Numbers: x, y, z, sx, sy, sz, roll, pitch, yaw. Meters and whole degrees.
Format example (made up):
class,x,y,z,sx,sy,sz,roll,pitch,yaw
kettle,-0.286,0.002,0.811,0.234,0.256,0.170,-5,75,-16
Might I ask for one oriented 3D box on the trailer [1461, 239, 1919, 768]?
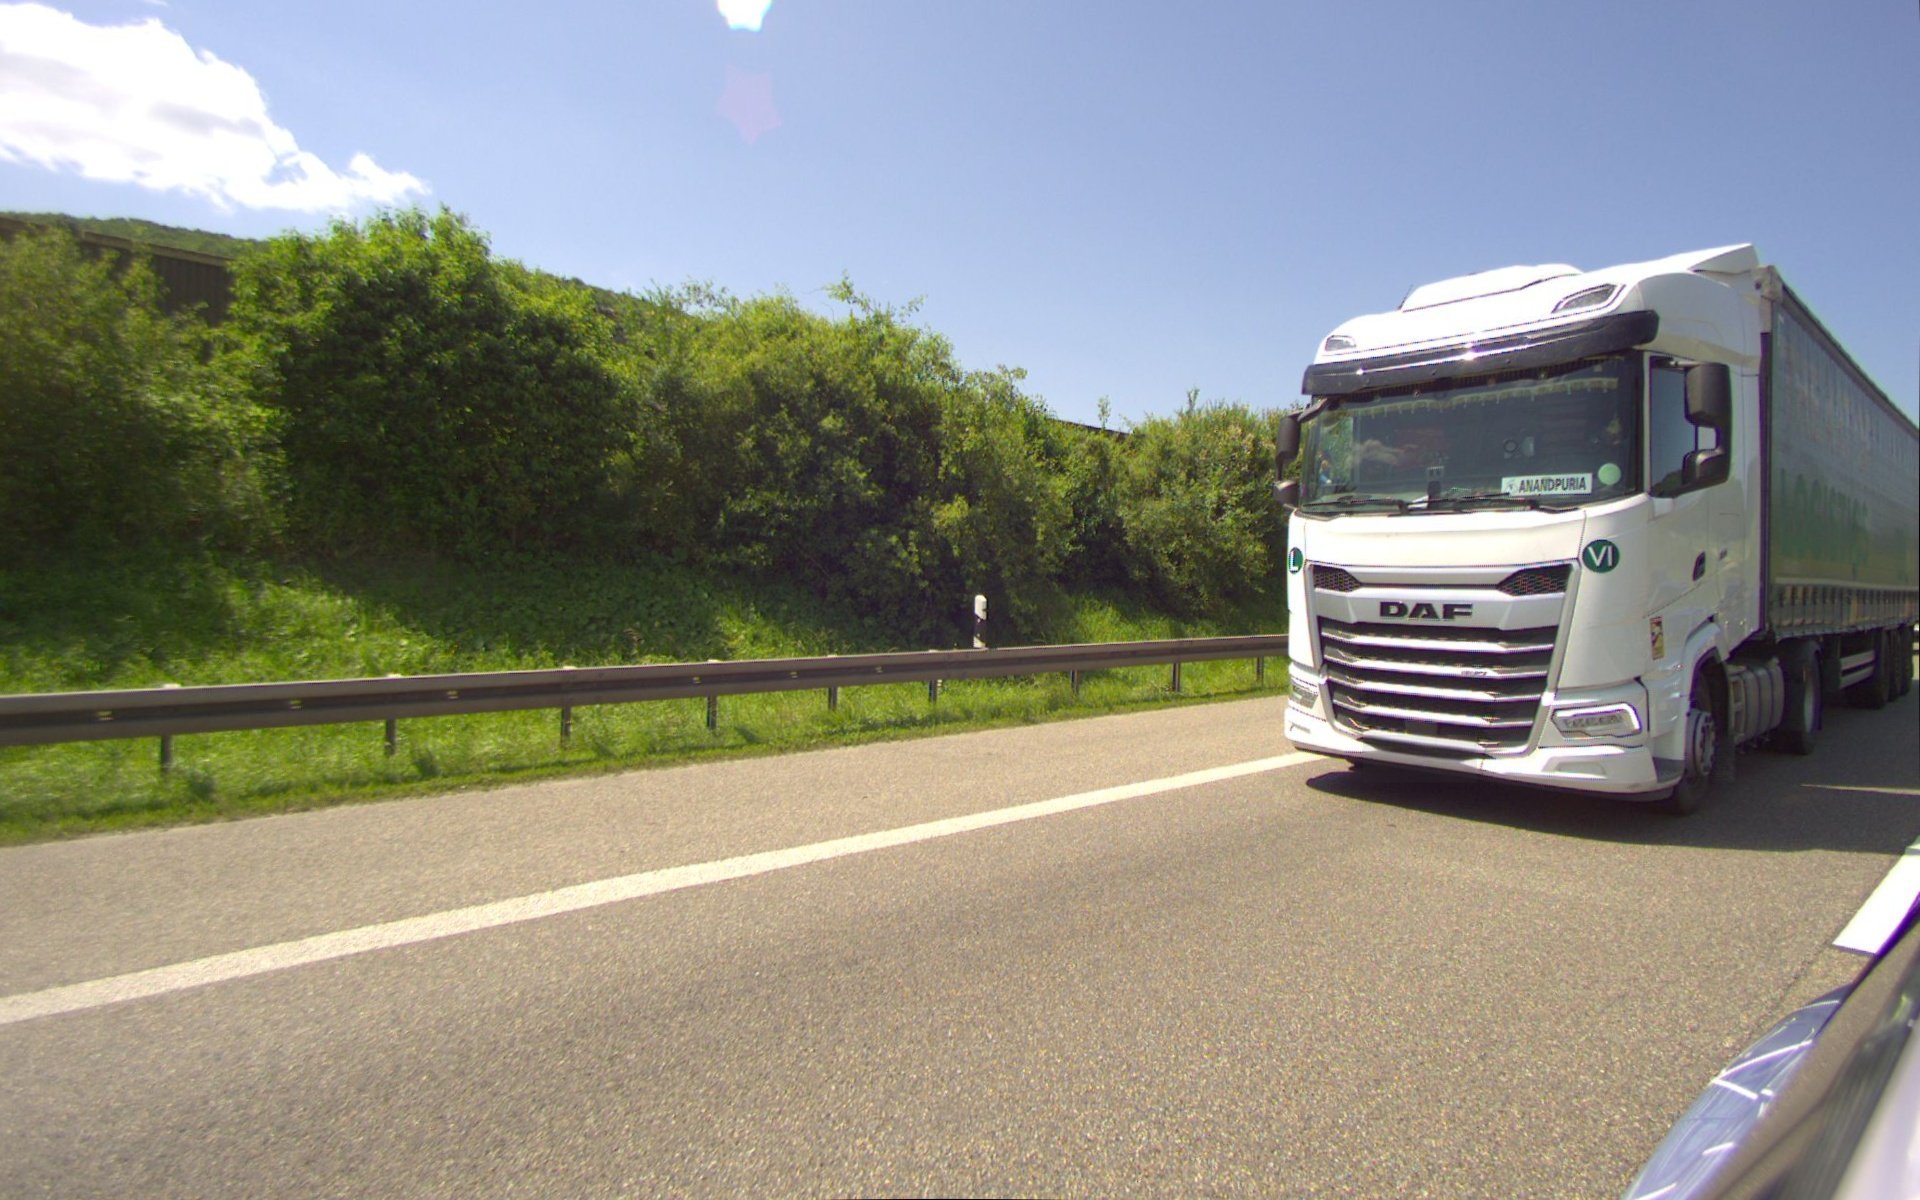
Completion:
class,x,y,z,sx,sy,sz,roll,pitch,yaw
trailer,10.592,-0.809,13.138,13.420,4.027,2.482,-1,1,-42

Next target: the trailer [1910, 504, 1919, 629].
class,x,y,z,sx,sy,sz,roll,pitch,yaw
trailer,37.649,-1.224,37.566,13.399,4.160,2.540,-1,1,-43

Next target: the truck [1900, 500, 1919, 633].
class,x,y,z,sx,sy,sz,roll,pitch,yaw
truck,32.421,-1.078,32.732,5.977,4.140,2.528,-1,1,-43

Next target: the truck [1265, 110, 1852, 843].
class,x,y,z,sx,sy,sz,roll,pitch,yaw
truck,5.414,-0.724,8.598,6.271,4.027,2.482,0,1,-42
